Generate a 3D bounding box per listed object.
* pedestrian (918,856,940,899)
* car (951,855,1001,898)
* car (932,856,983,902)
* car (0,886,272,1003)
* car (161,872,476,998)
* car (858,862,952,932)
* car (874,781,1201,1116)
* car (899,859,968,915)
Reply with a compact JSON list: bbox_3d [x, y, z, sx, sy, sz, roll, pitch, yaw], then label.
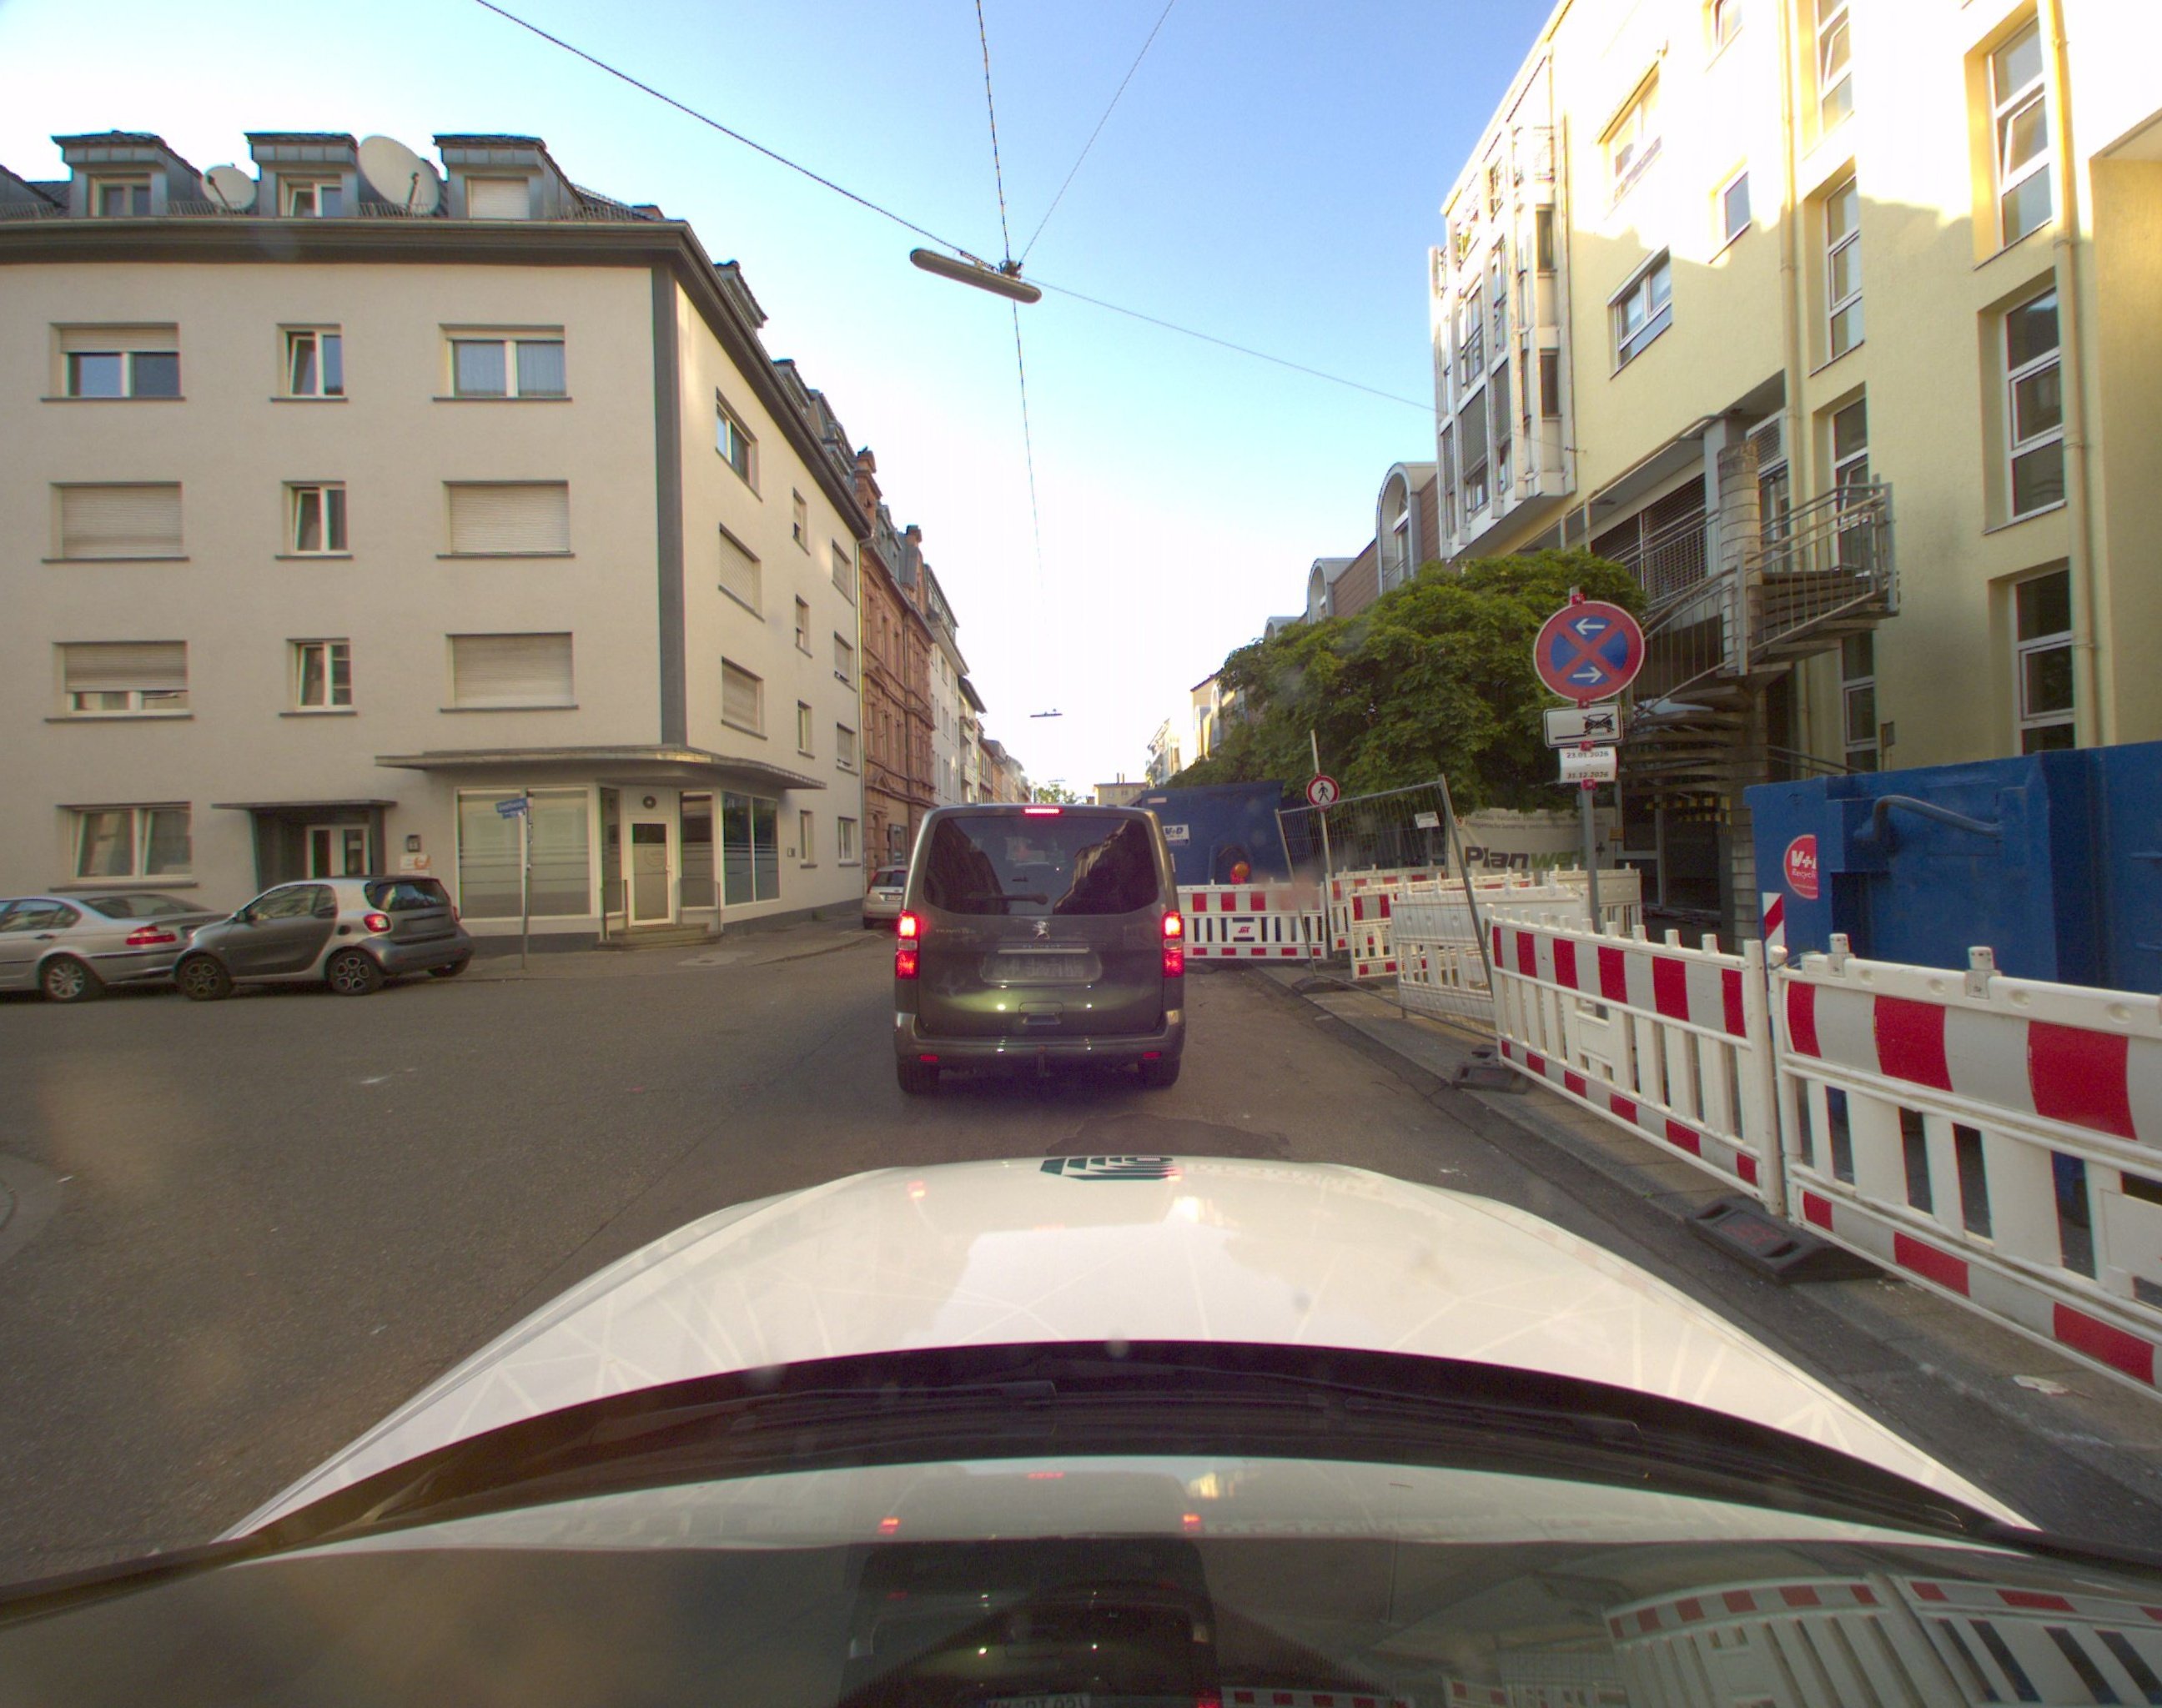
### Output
[{"bbox_3d":[-6.160,0.942,32.975,0.739,1.664,0.702,-2,0,-5],"label":"pedestrian"},{"bbox_3d":[-4.533,0.956,35.710,1.888,1.720,3.748,3,-1,-4],"label":"car"},{"bbox_3d":[-4.796,0.965,32.068,1.663,1.666,3.087,3,-1,-4],"label":"car"},{"bbox_3d":[-14.207,1.224,11.310,4.193,1.403,1.602,-1,0,-2],"label":"car"},{"bbox_3d":[-10.281,1.047,11.152,2.778,1.540,1.593,0,0,-1],"label":"car"},{"bbox_3d":[-4.148,0.970,19.652,1.653,1.460,3.412,3,-1,-4],"label":"car"},{"bbox_3d":[-0.385,0.557,6.825,1.862,1.886,4.228,-1,-1,-4],"label":"car"},{"bbox_3d":[-4.447,0.974,24.971,1.653,1.525,3.412,3,-1,-4],"label":"car"}]
